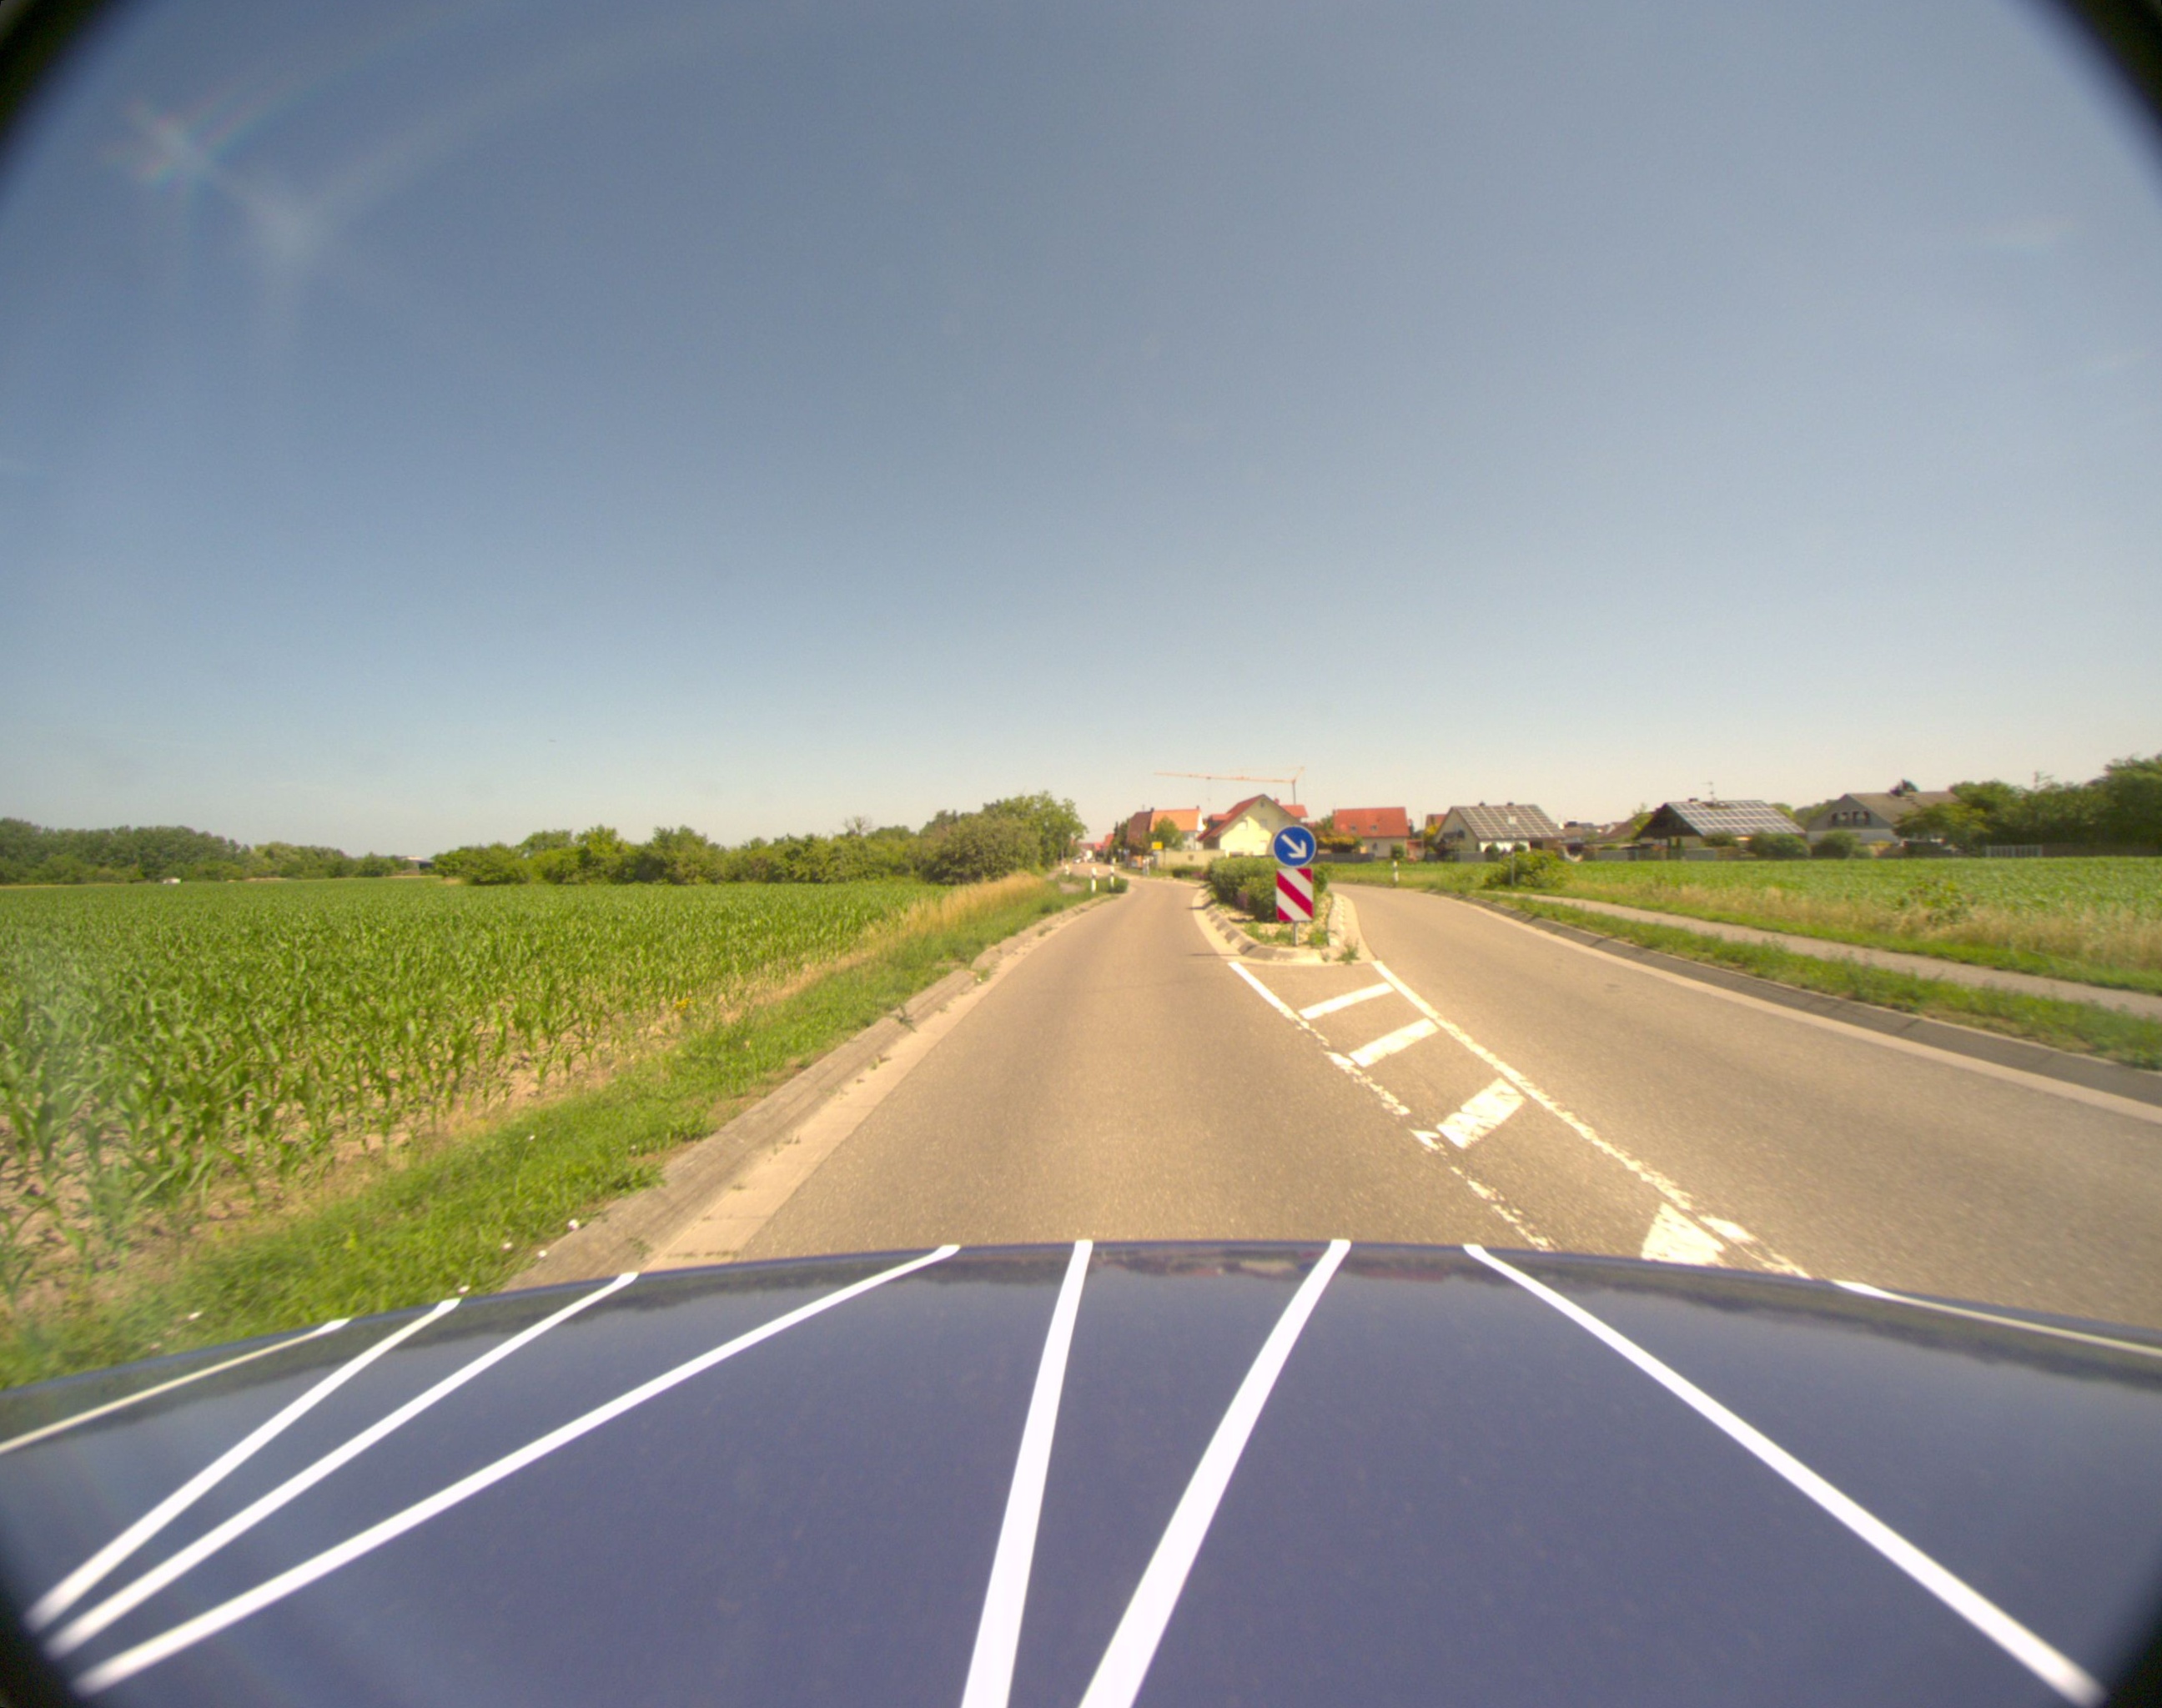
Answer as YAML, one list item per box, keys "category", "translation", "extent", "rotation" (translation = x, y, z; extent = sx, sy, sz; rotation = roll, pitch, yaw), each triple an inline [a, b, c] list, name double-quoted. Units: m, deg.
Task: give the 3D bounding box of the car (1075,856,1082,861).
- category: "car"
  translation: [-0.739, 1.132, 206.808]
  extent: [1.733, 1.379, 3.532]
  rotation: [-1, 0, 0]

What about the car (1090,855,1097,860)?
- category: "car"
  translation: [3.536, 0.874, 213.629]
  extent: [1.733, 1.379, 3.532]
  rotation: [-1, 0, 0]
